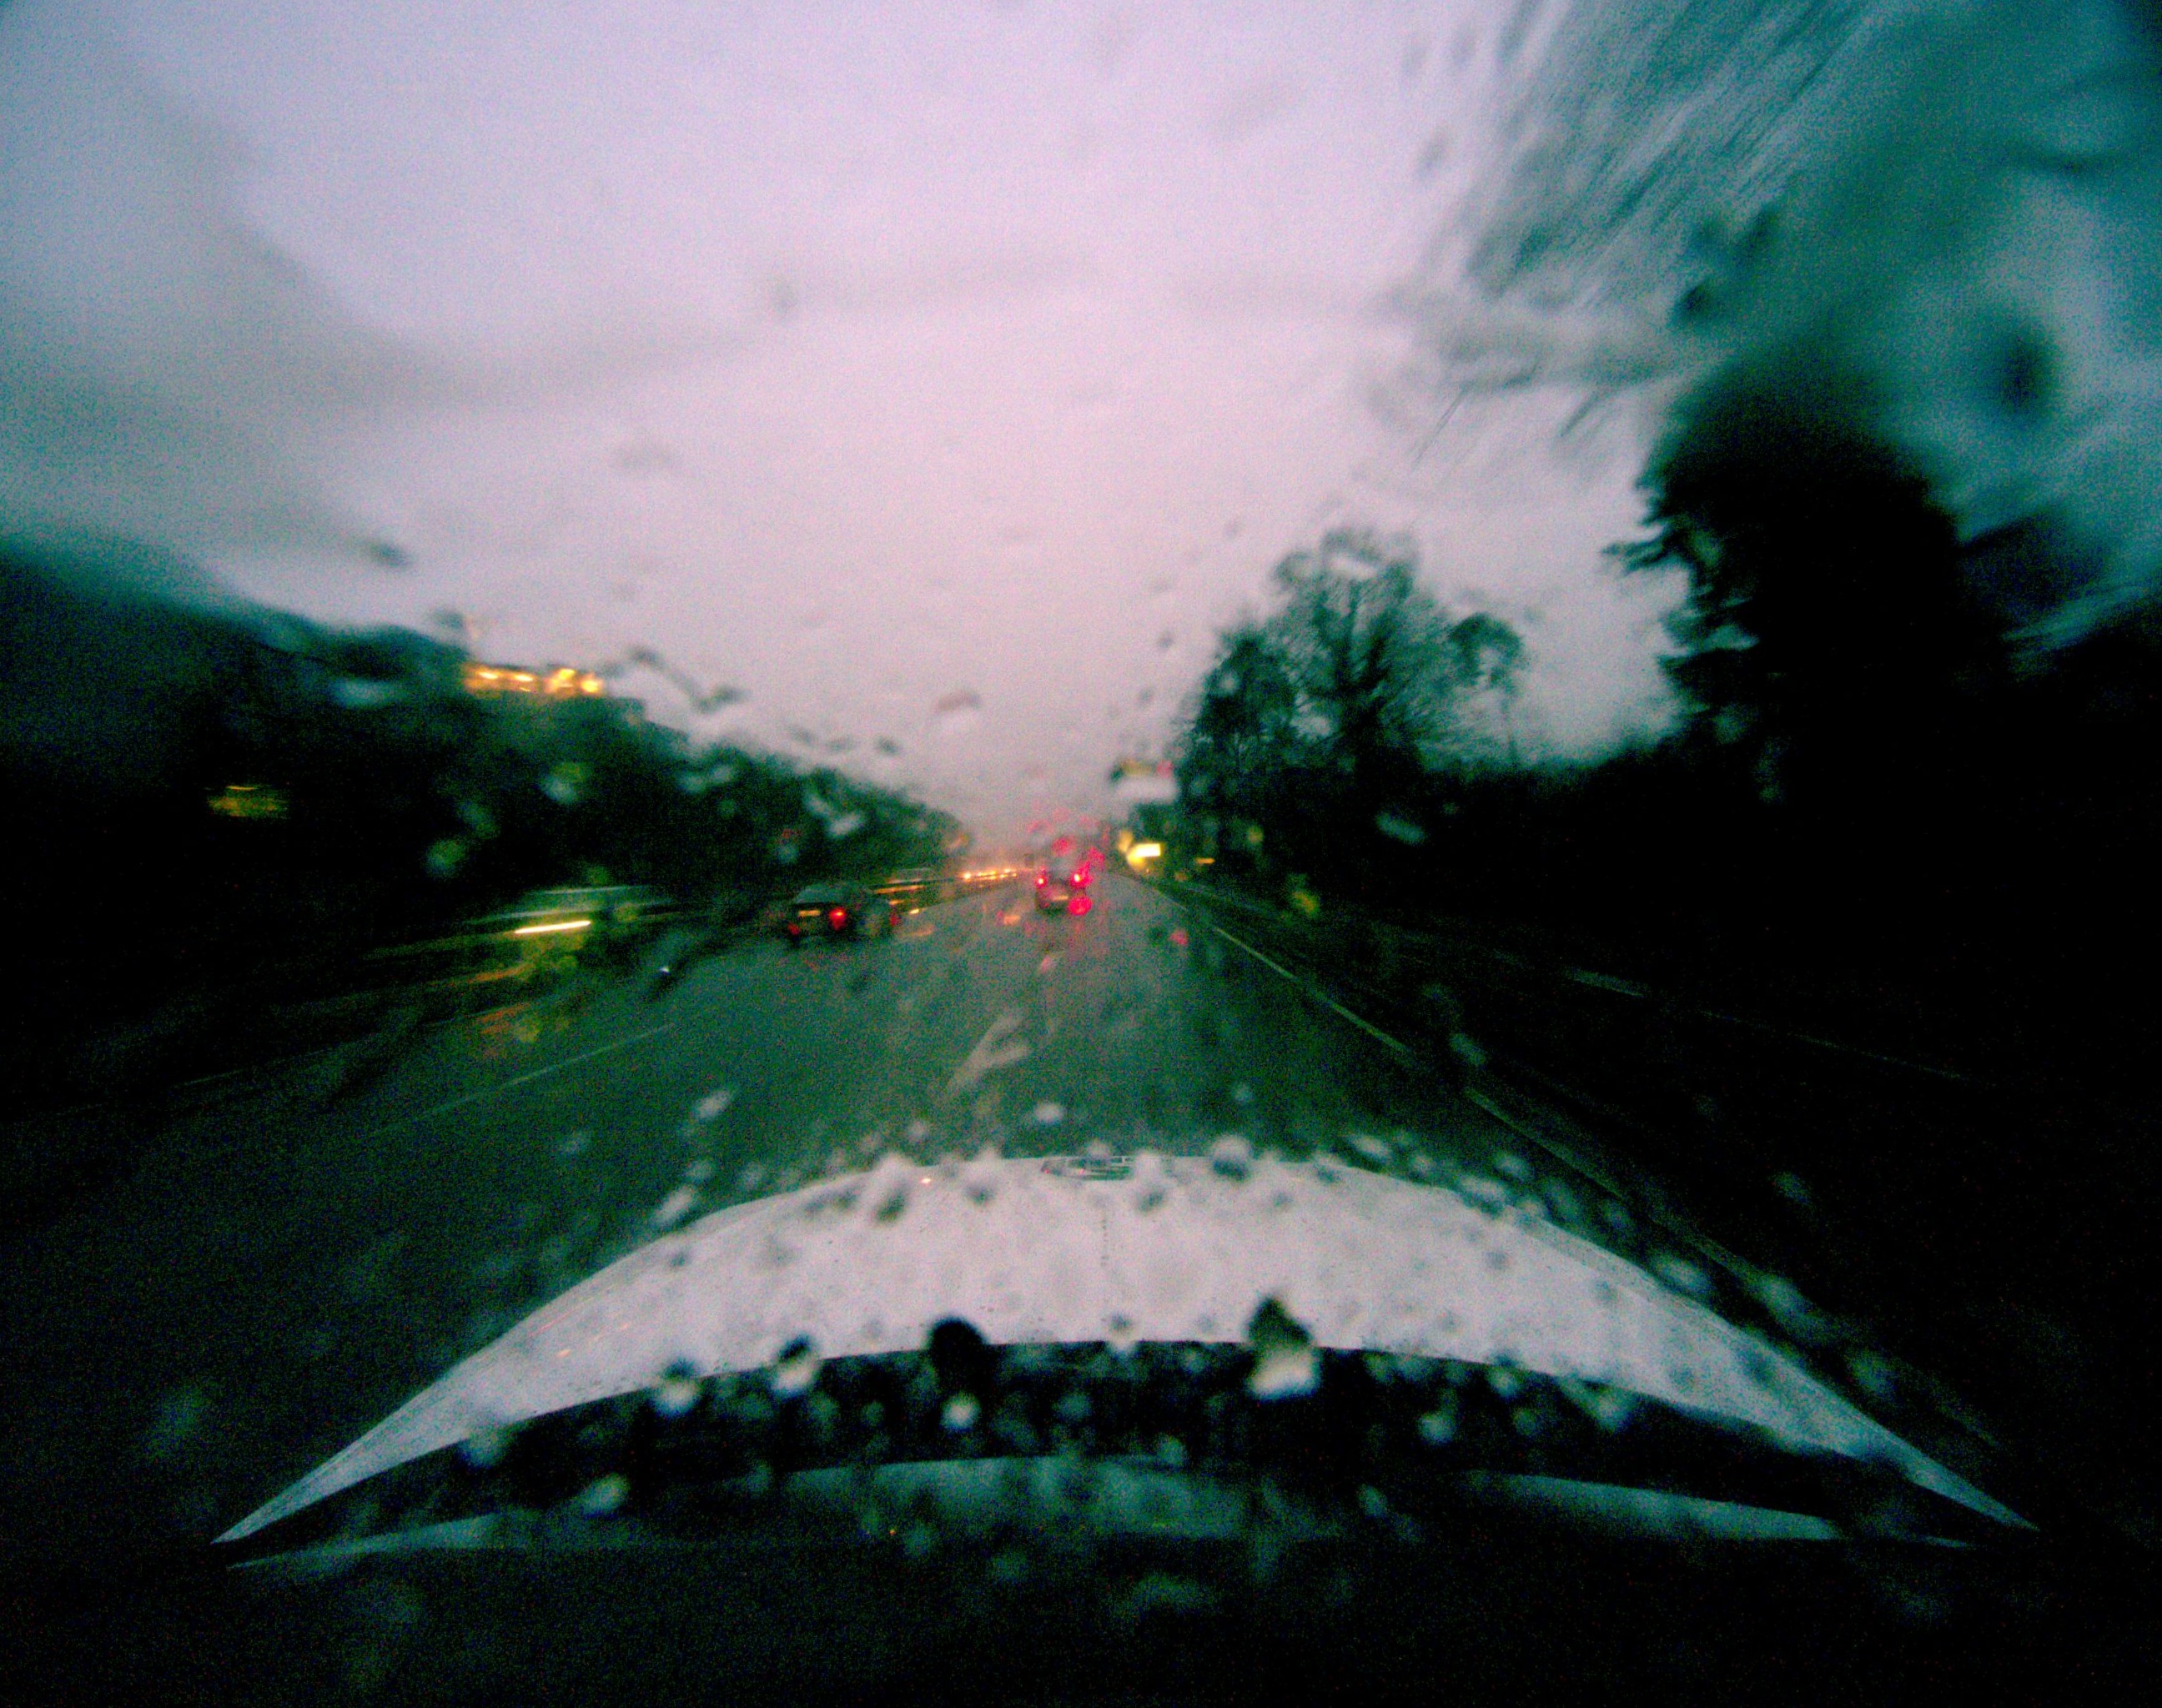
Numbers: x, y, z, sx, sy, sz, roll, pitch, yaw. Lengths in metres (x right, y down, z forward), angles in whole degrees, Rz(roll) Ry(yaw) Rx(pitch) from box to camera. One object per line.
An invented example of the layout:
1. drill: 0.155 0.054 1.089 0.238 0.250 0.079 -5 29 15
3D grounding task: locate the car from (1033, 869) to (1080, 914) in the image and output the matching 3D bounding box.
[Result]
1. car: -0.789 1.235 28.123 1.523 1.416 3.478 0 -1 0

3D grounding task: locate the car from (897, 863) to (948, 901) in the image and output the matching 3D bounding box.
1. car: -10.378 1.767 53.649 1.966 2.281 5.054 -2 -1 4

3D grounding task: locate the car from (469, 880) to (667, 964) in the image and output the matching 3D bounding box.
1. car: -12.381 1.551 20.094 1.836 1.657 4.669 -2 -1 1

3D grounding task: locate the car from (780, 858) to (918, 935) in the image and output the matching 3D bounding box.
1. car: -5.712 0.984 20.739 1.768 1.534 4.708 -4 0 4
